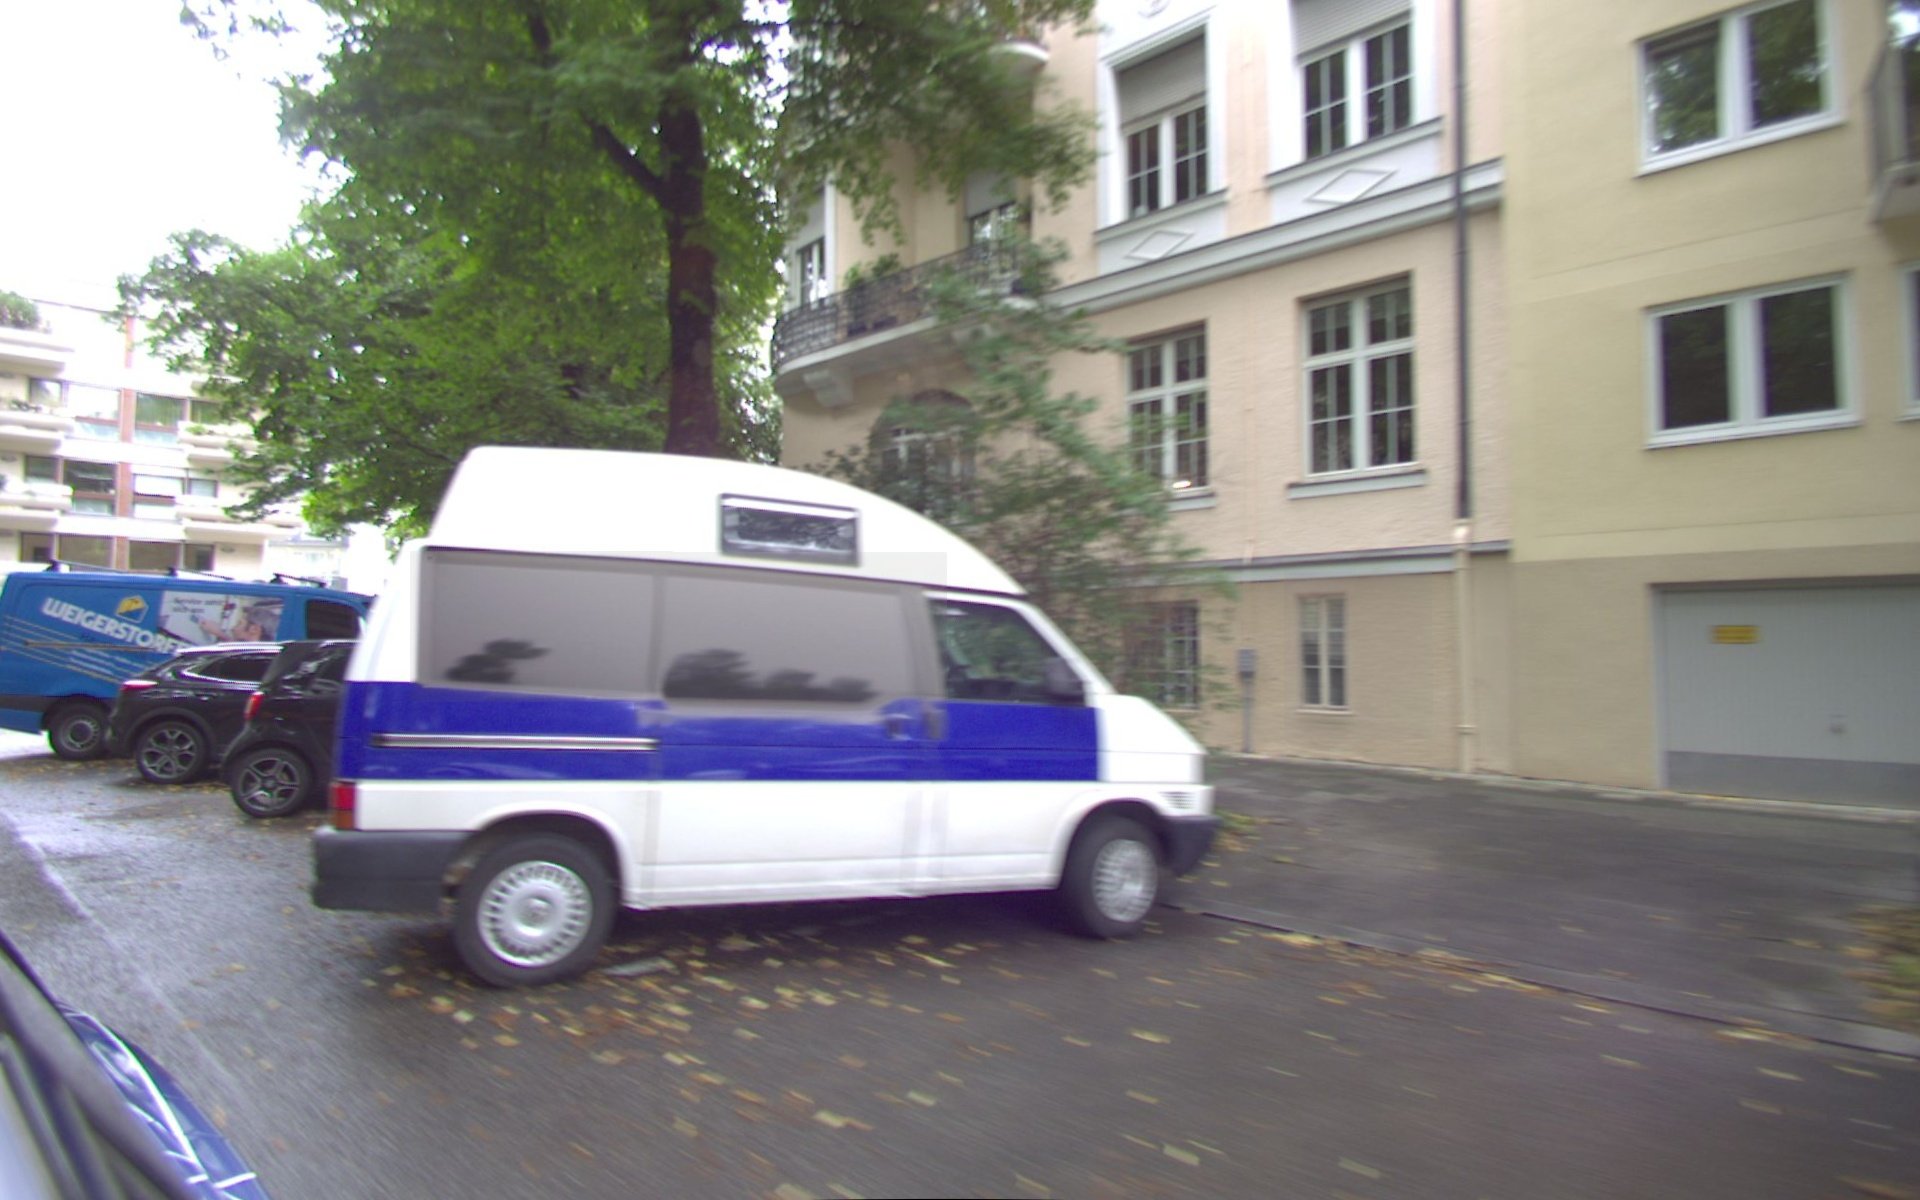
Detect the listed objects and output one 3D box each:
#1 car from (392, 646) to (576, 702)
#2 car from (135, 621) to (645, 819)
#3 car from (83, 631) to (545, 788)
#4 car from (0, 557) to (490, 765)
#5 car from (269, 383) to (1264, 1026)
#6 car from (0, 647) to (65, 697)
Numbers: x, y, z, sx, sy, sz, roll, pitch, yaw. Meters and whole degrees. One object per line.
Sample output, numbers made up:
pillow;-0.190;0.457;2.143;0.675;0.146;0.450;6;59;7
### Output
car;-12.713;1.994;27.328;4.268;1.394;1.850;2;-4;-18
car;-4.981;1.075;9.494;3.802;1.572;1.821;2;-3;-16
car;-7.004;1.199;11.408;3.936;1.548;1.819;2;-3;-9
car;-9.504;0.835;13.512;5.405;2.372;2.070;3;-3;-12
car;-0.795;0.506;5.520;4.504;2.396;1.911;3;-4;-22
car;-30.315;2.376;32.933;1.695;1.466;4.246;2;-7;-42
